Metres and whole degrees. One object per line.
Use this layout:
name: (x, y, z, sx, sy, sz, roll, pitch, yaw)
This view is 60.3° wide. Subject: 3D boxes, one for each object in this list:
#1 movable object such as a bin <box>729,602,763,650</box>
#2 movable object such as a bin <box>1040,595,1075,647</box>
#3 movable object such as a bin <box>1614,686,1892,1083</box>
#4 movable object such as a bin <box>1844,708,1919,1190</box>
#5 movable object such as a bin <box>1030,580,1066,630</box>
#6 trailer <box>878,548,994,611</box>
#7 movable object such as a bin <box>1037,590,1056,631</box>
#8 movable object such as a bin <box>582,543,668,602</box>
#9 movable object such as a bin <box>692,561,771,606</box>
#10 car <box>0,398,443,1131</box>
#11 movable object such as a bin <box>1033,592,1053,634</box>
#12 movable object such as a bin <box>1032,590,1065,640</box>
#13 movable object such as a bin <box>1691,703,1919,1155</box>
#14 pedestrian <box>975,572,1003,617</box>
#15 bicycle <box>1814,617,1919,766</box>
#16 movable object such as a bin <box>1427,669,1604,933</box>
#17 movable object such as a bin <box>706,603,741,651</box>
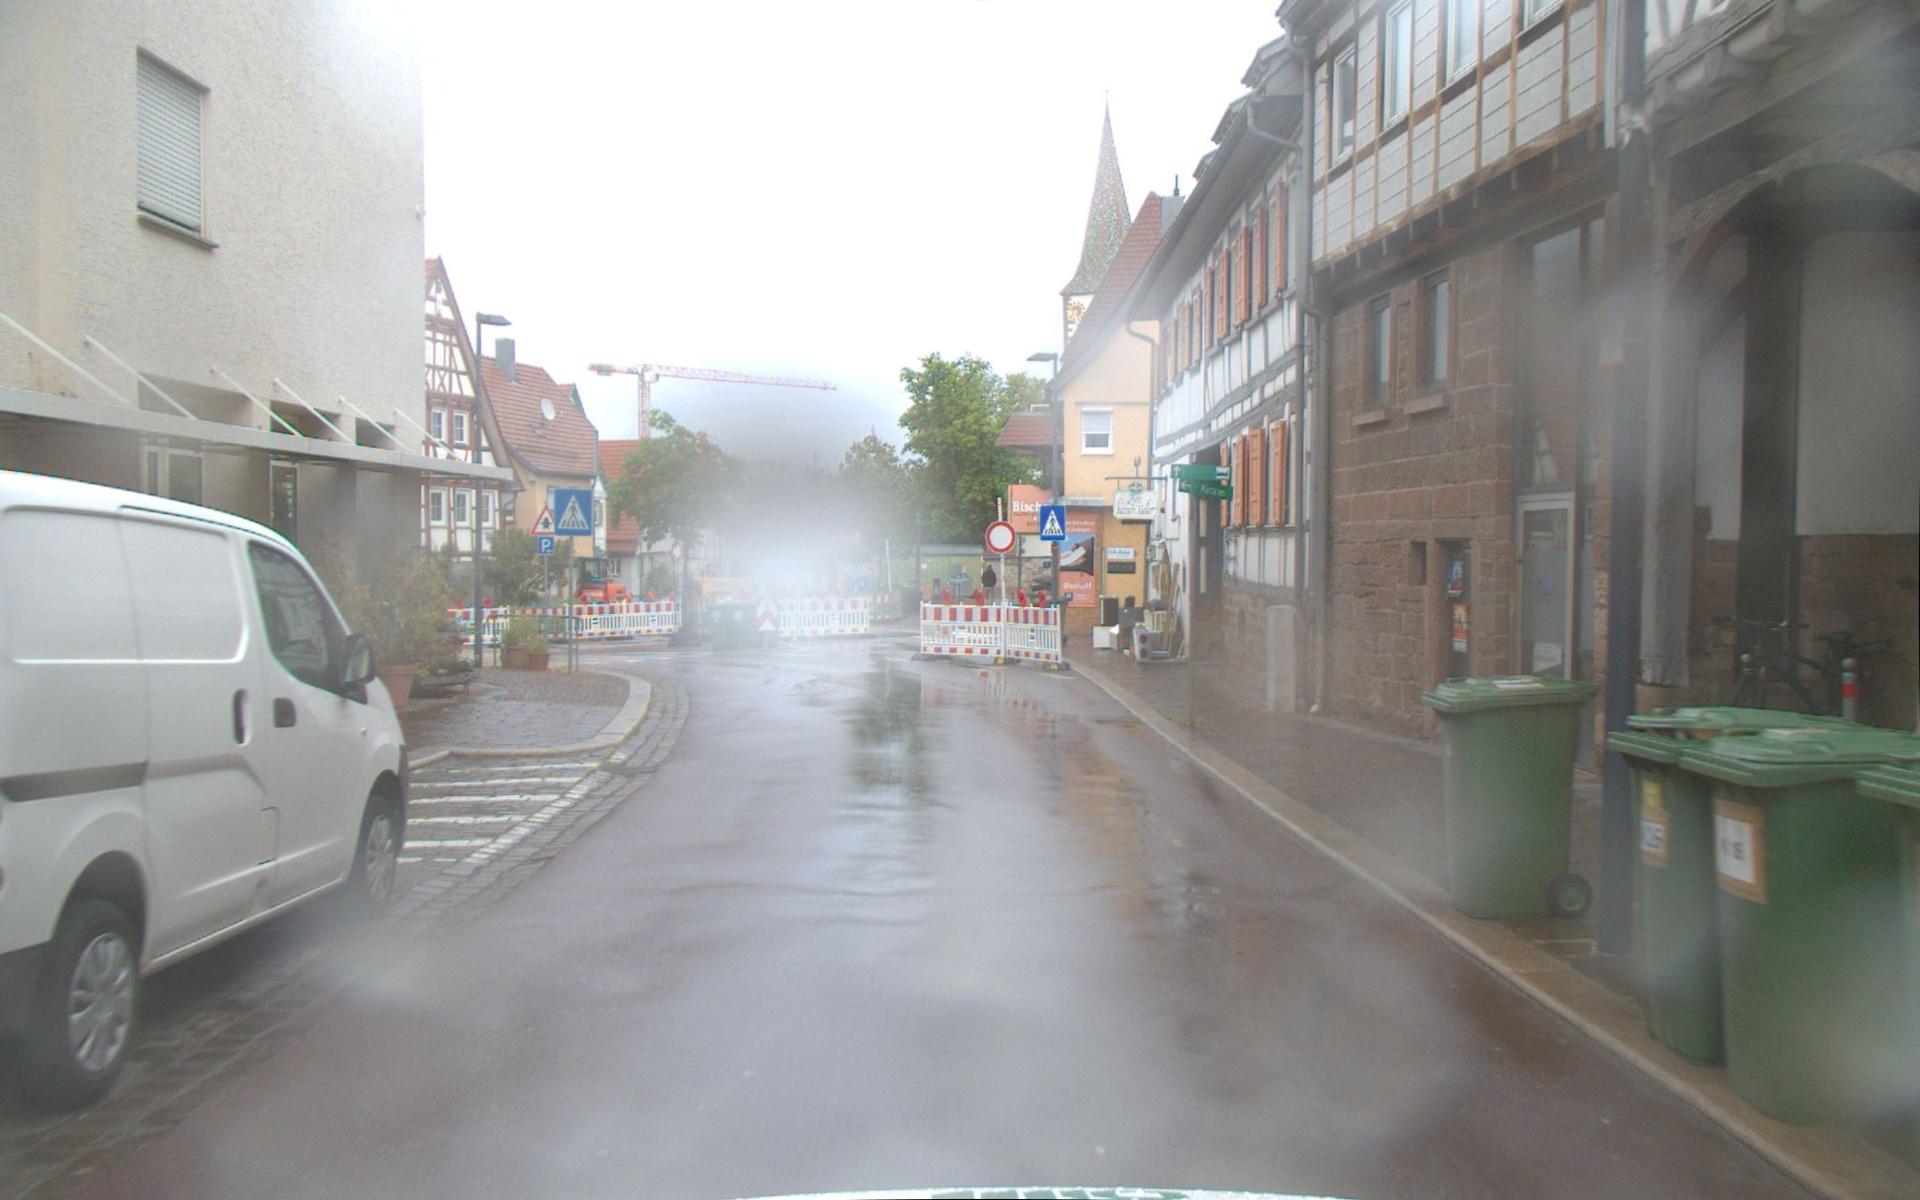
movable object such as a bin: (-4.737, 0.584, 36.601, 0.533, 1.051, 0.533, -2, -2, 32)
movable object such as a bin: (2.075, 0.441, 35.220, 0.666, 1.084, 0.539, -1, 2, -8)
movable object such as a bin: (2.550, 0.886, 5.371, 0.624, 1.167, 0.580, 1, 0, 4)
movable object such as a bin: (2.695, 0.880, 4.113, 0.625, 1.167, 0.632, 1, 0, -3)
movable object such as a bin: (2.848, 0.152, 53.212, 1.042, 1.539, 1.243, -2, 1, 6)
trailer: (-1.240, -1.014, 83.733, 5.670, 2.999, 1.997, 1, 0, -6)
movable object such as a bin: (2.530, 0.311, 48.337, 0.505, 1.148, 0.580, -2, 1, 2)
movable object such as a bin: (-12.347, -0.982, 61.167, 1.864, 2.049, 4.003, -1, 0, 8)
movable object such as a bin: (-11.249, -0.798, 81.791, 3.332, 2.049, 3.478, 1, 0, 0)
car: (-3.372, 0.401, 6.136, 1.689, 1.857, 4.425, 1, 0, -3)
movable object such as a bin: (2.323, 0.364, 46.488, 0.507, 1.151, 0.580, -2, 1, 2)
movable object such as a bin: (1.919, 0.327, 35.949, 0.603, 1.084, 0.540, -1, -1, 15)
movable object such as a bin: (2.543, 0.906, 4.750, 0.624, 1.167, 0.604, 1, 0, 4)
pedestrian: (1.171, -0.222, 65.960, 0.971, 1.789, 0.850, 1, 0, -7)
bicycle: (6.608, 0.576, 11.248, 1.374, 0.897, 0.292, -8, 1, -1)
movable object such as a bin: (2.576, 0.915, 7.719, 0.597, 1.147, 0.599, 1, 0, -1)
movable object such as a bin: (-5.269, 0.605, 36.921, 0.530, 1.055, 0.571, -1, -2, 32)
